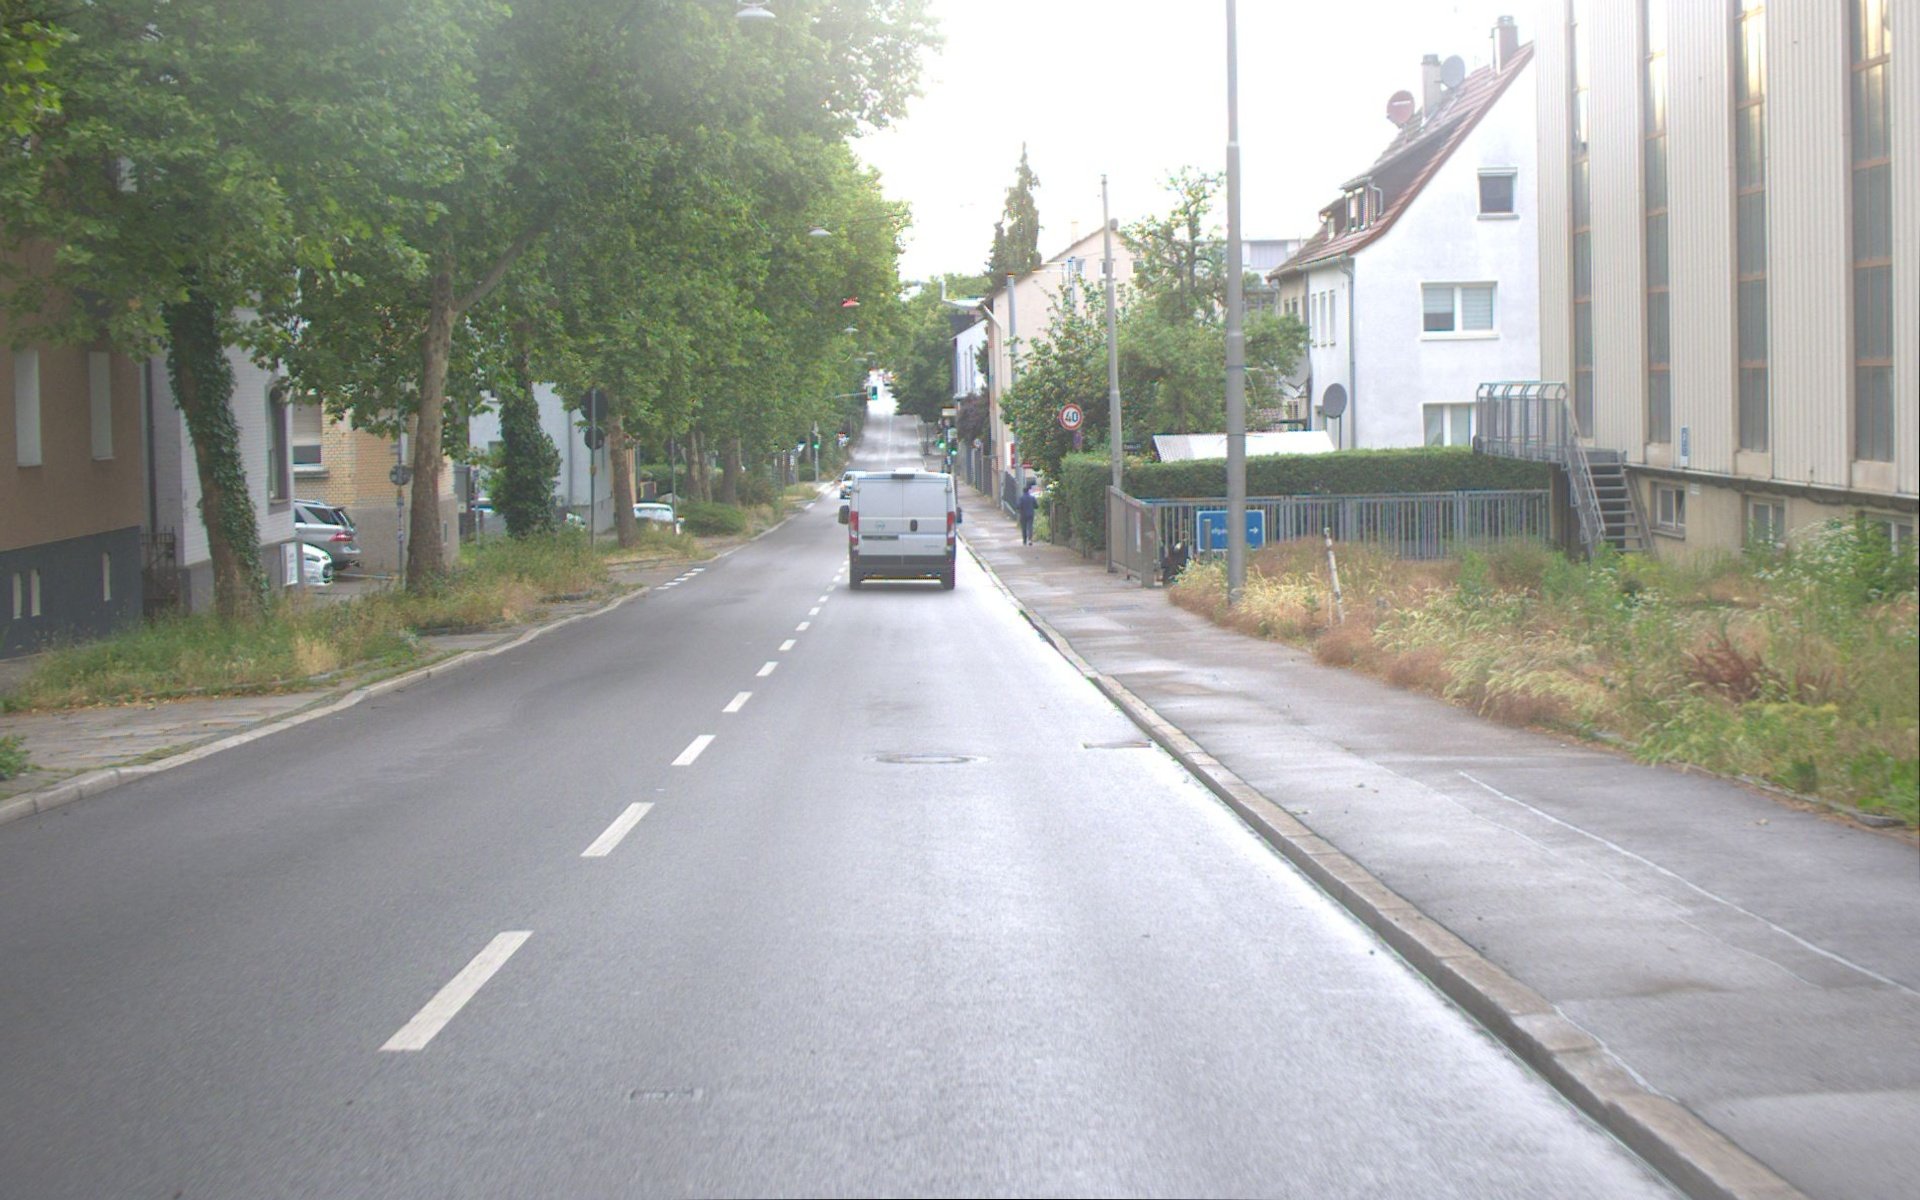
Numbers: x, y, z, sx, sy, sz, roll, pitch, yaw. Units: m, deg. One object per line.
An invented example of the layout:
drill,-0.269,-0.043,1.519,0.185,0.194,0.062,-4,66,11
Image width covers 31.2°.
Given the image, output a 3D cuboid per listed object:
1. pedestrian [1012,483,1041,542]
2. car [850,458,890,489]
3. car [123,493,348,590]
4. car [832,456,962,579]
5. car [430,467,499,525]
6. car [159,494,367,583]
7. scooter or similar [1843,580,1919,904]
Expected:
pedestrian,1.913,-2.530,99.055,0.816,1.692,0.729,0,1,3
car,-5.043,-7.062,192.195,1.993,1.703,4.261,-1,2,-4
car,-14.883,-1.218,70.780,4.196,1.885,2.000,-1,2,-1
car,-1.270,-1.650,66.906,2.346,2.152,4.779,-2,3,-2
car,-17.287,-3.655,120.112,1.875,1.888,4.001,-1,3,-1
car,-15.442,-1.380,76.283,4.196,1.885,2.000,-1,2,-1
scooter or similar,3.780,0.520,12.403,0.605,1.158,1.700,-1,1,-5
